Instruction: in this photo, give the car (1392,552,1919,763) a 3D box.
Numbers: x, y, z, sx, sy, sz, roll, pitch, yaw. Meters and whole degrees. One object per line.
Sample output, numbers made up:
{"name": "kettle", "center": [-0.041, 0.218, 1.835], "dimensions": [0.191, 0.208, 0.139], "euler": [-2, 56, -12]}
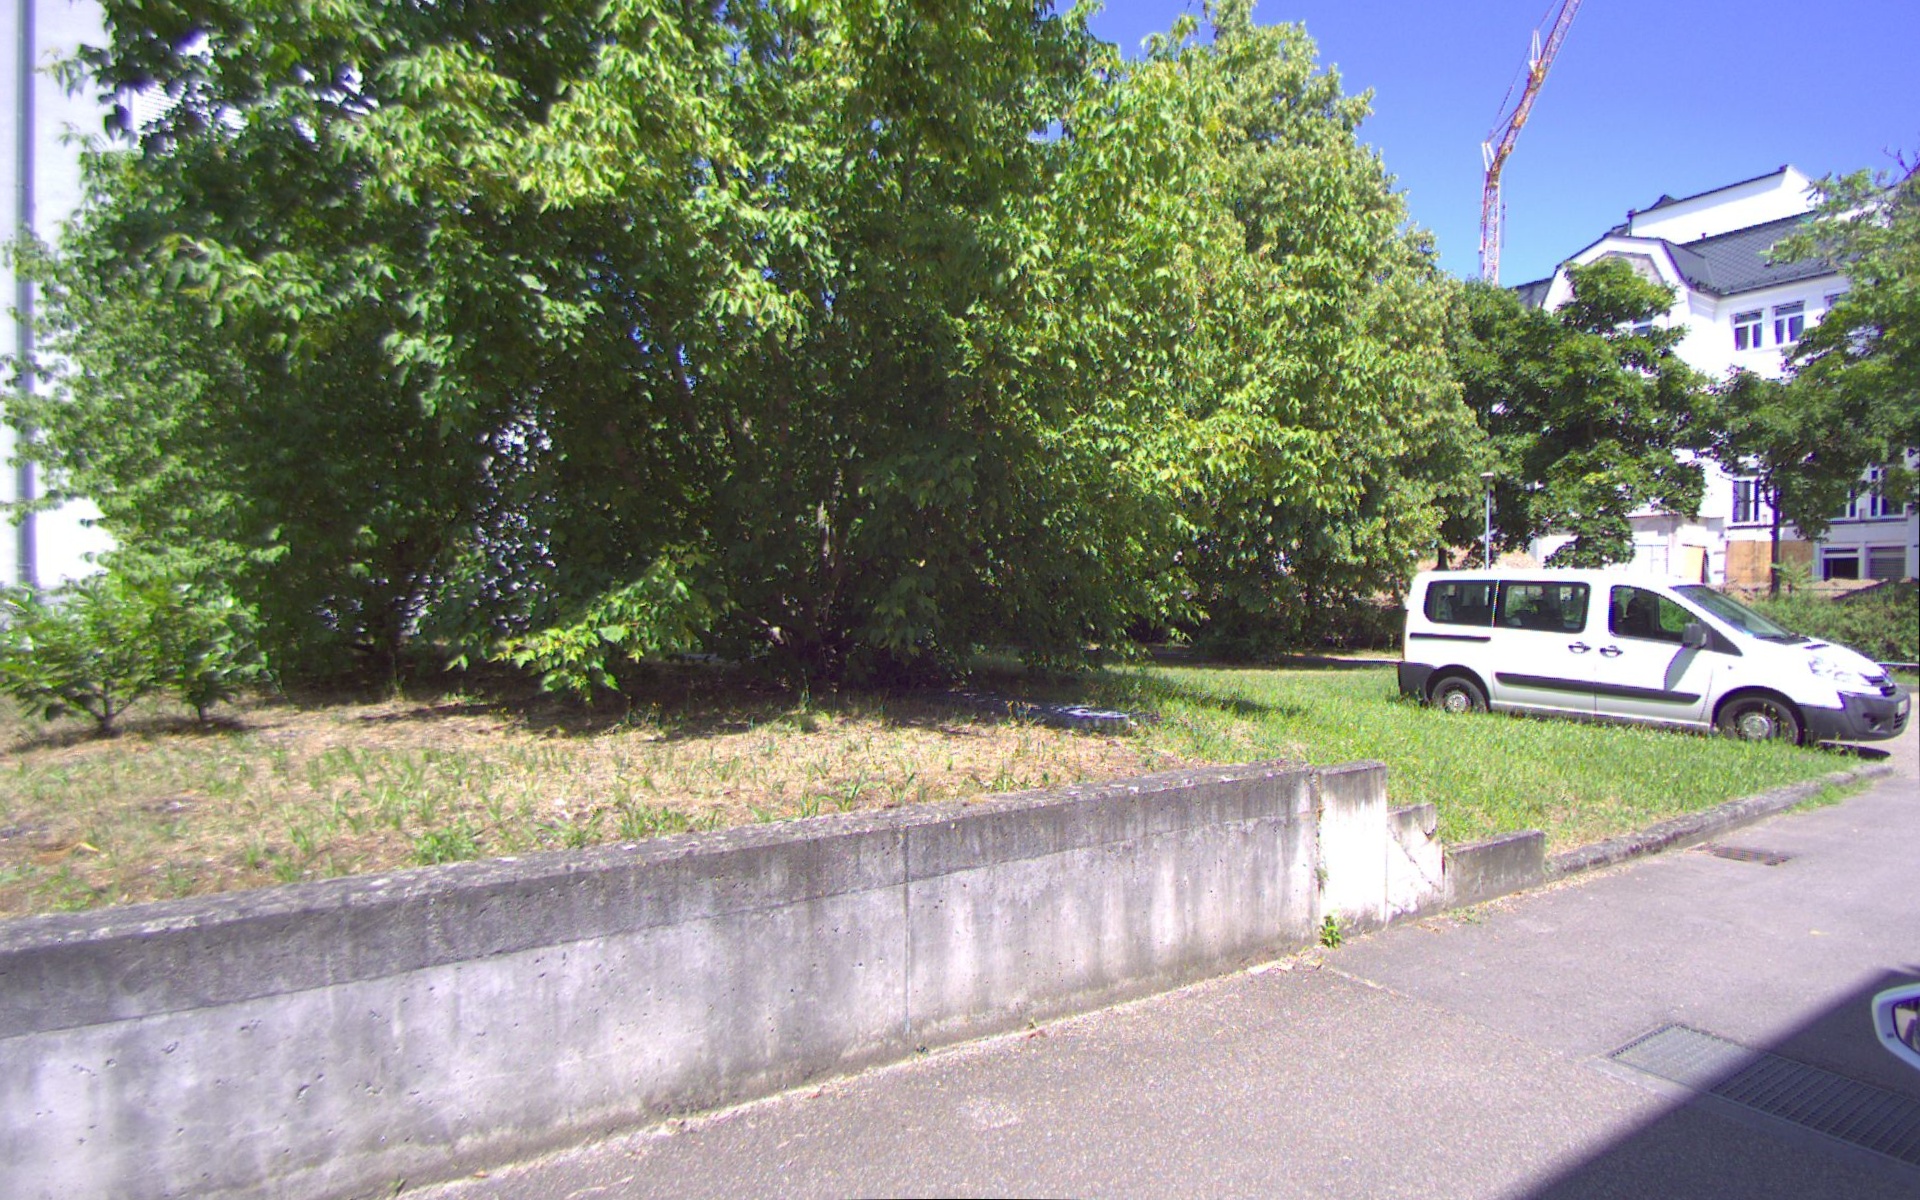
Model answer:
{"name": "car", "center": [7.805, 0.570, 11.691], "dimensions": [1.983, 1.936, 4.751], "euler": [2, -2, -38]}
